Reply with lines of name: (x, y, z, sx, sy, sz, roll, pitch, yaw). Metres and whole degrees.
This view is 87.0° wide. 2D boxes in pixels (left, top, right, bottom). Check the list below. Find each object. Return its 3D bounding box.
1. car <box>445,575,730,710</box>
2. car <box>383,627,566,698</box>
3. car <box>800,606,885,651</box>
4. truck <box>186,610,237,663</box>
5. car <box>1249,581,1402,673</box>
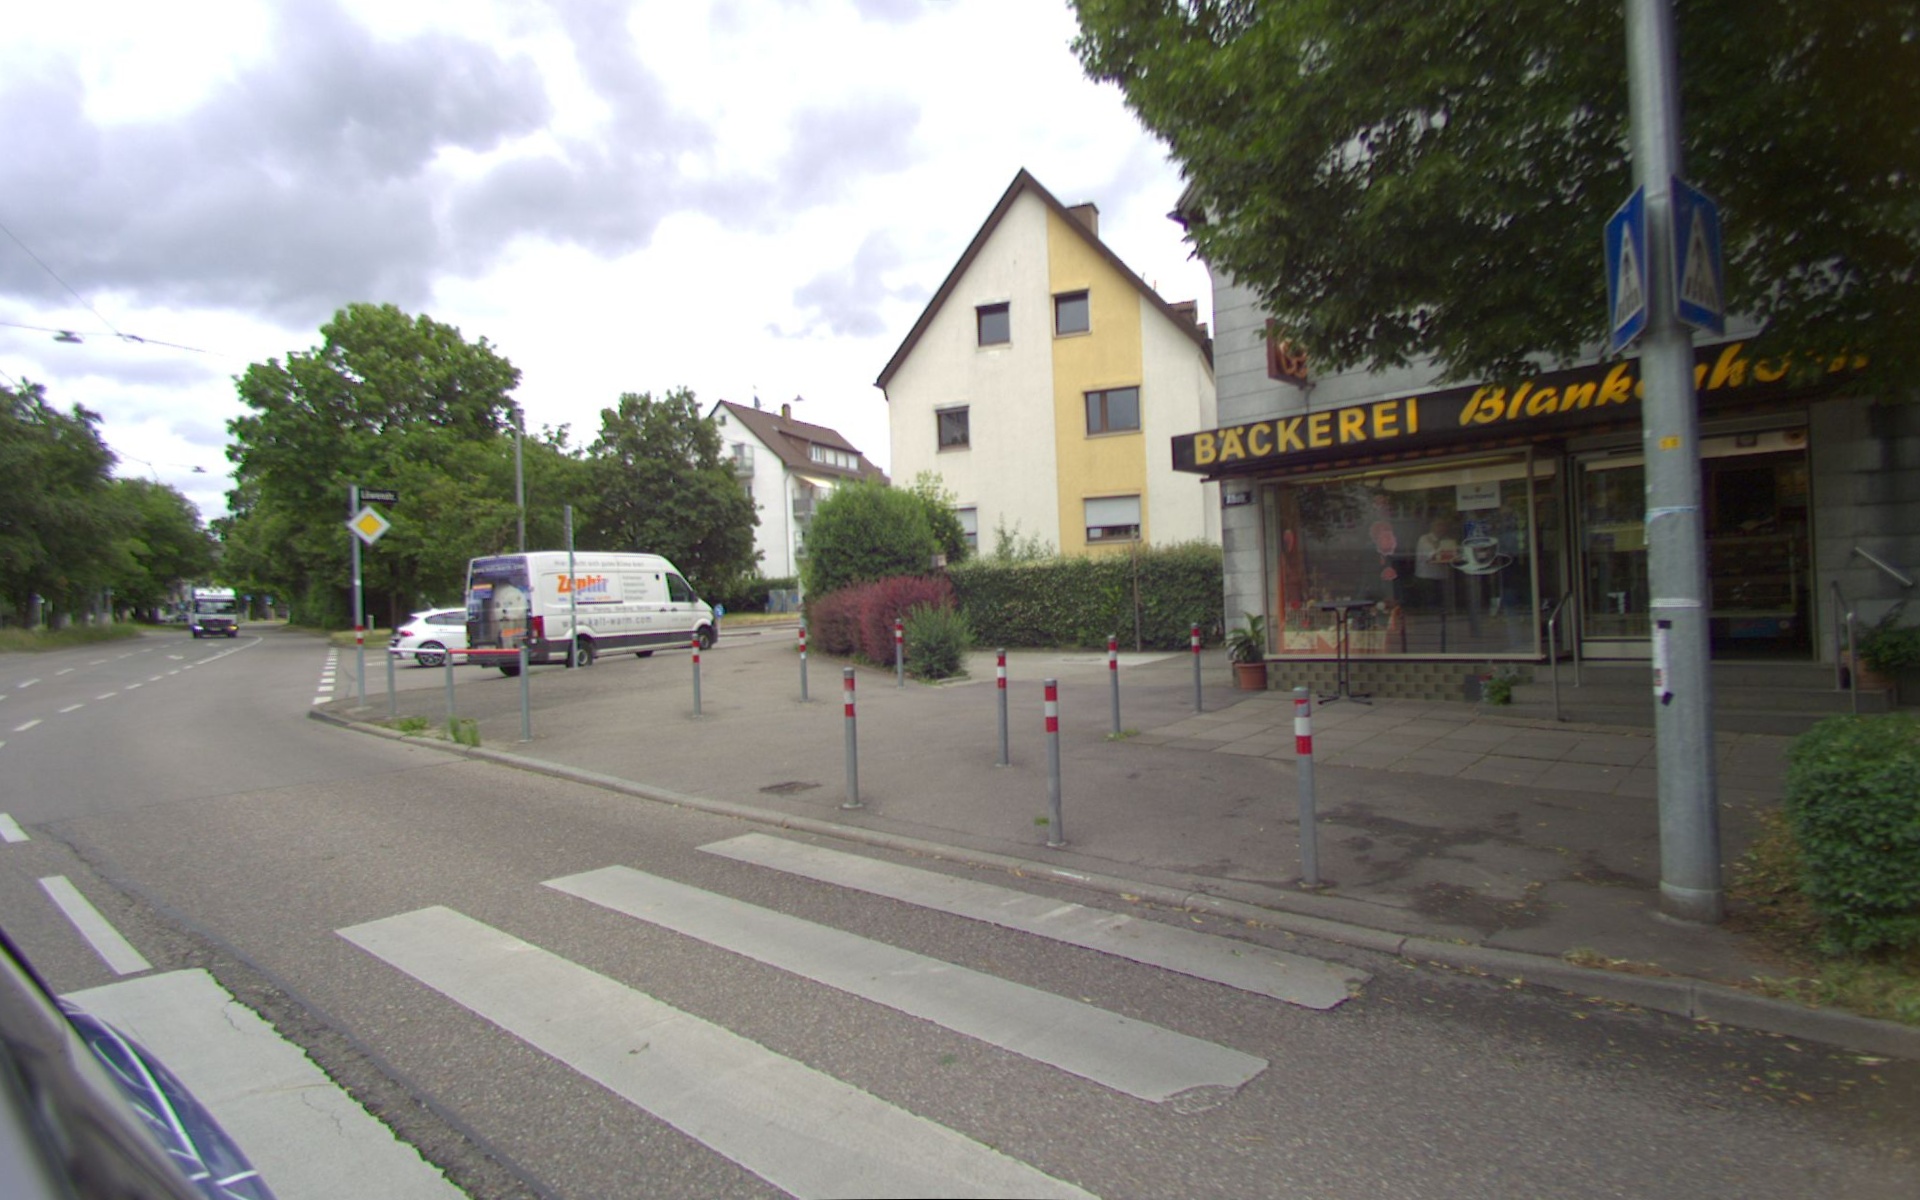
car: (-8.145, 0.808, 23.244, 2.069, 2.541, 6.936, -5, -1, 19)
car: (-12.601, 1.563, 26.414, 4.134, 1.529, 1.807, -2, 0, -26)
car: (-4.510, 1.069, 39.505, 1.912, 1.586, 3.980, -2, -1, 15)
truck: (-48.099, 2.298, 65.150, 2.397, 3.219, 6.483, -1, -1, -35)
car: (7.608, 0.496, 20.867, 1.842, 1.570, 3.648, -1, 2, 39)
